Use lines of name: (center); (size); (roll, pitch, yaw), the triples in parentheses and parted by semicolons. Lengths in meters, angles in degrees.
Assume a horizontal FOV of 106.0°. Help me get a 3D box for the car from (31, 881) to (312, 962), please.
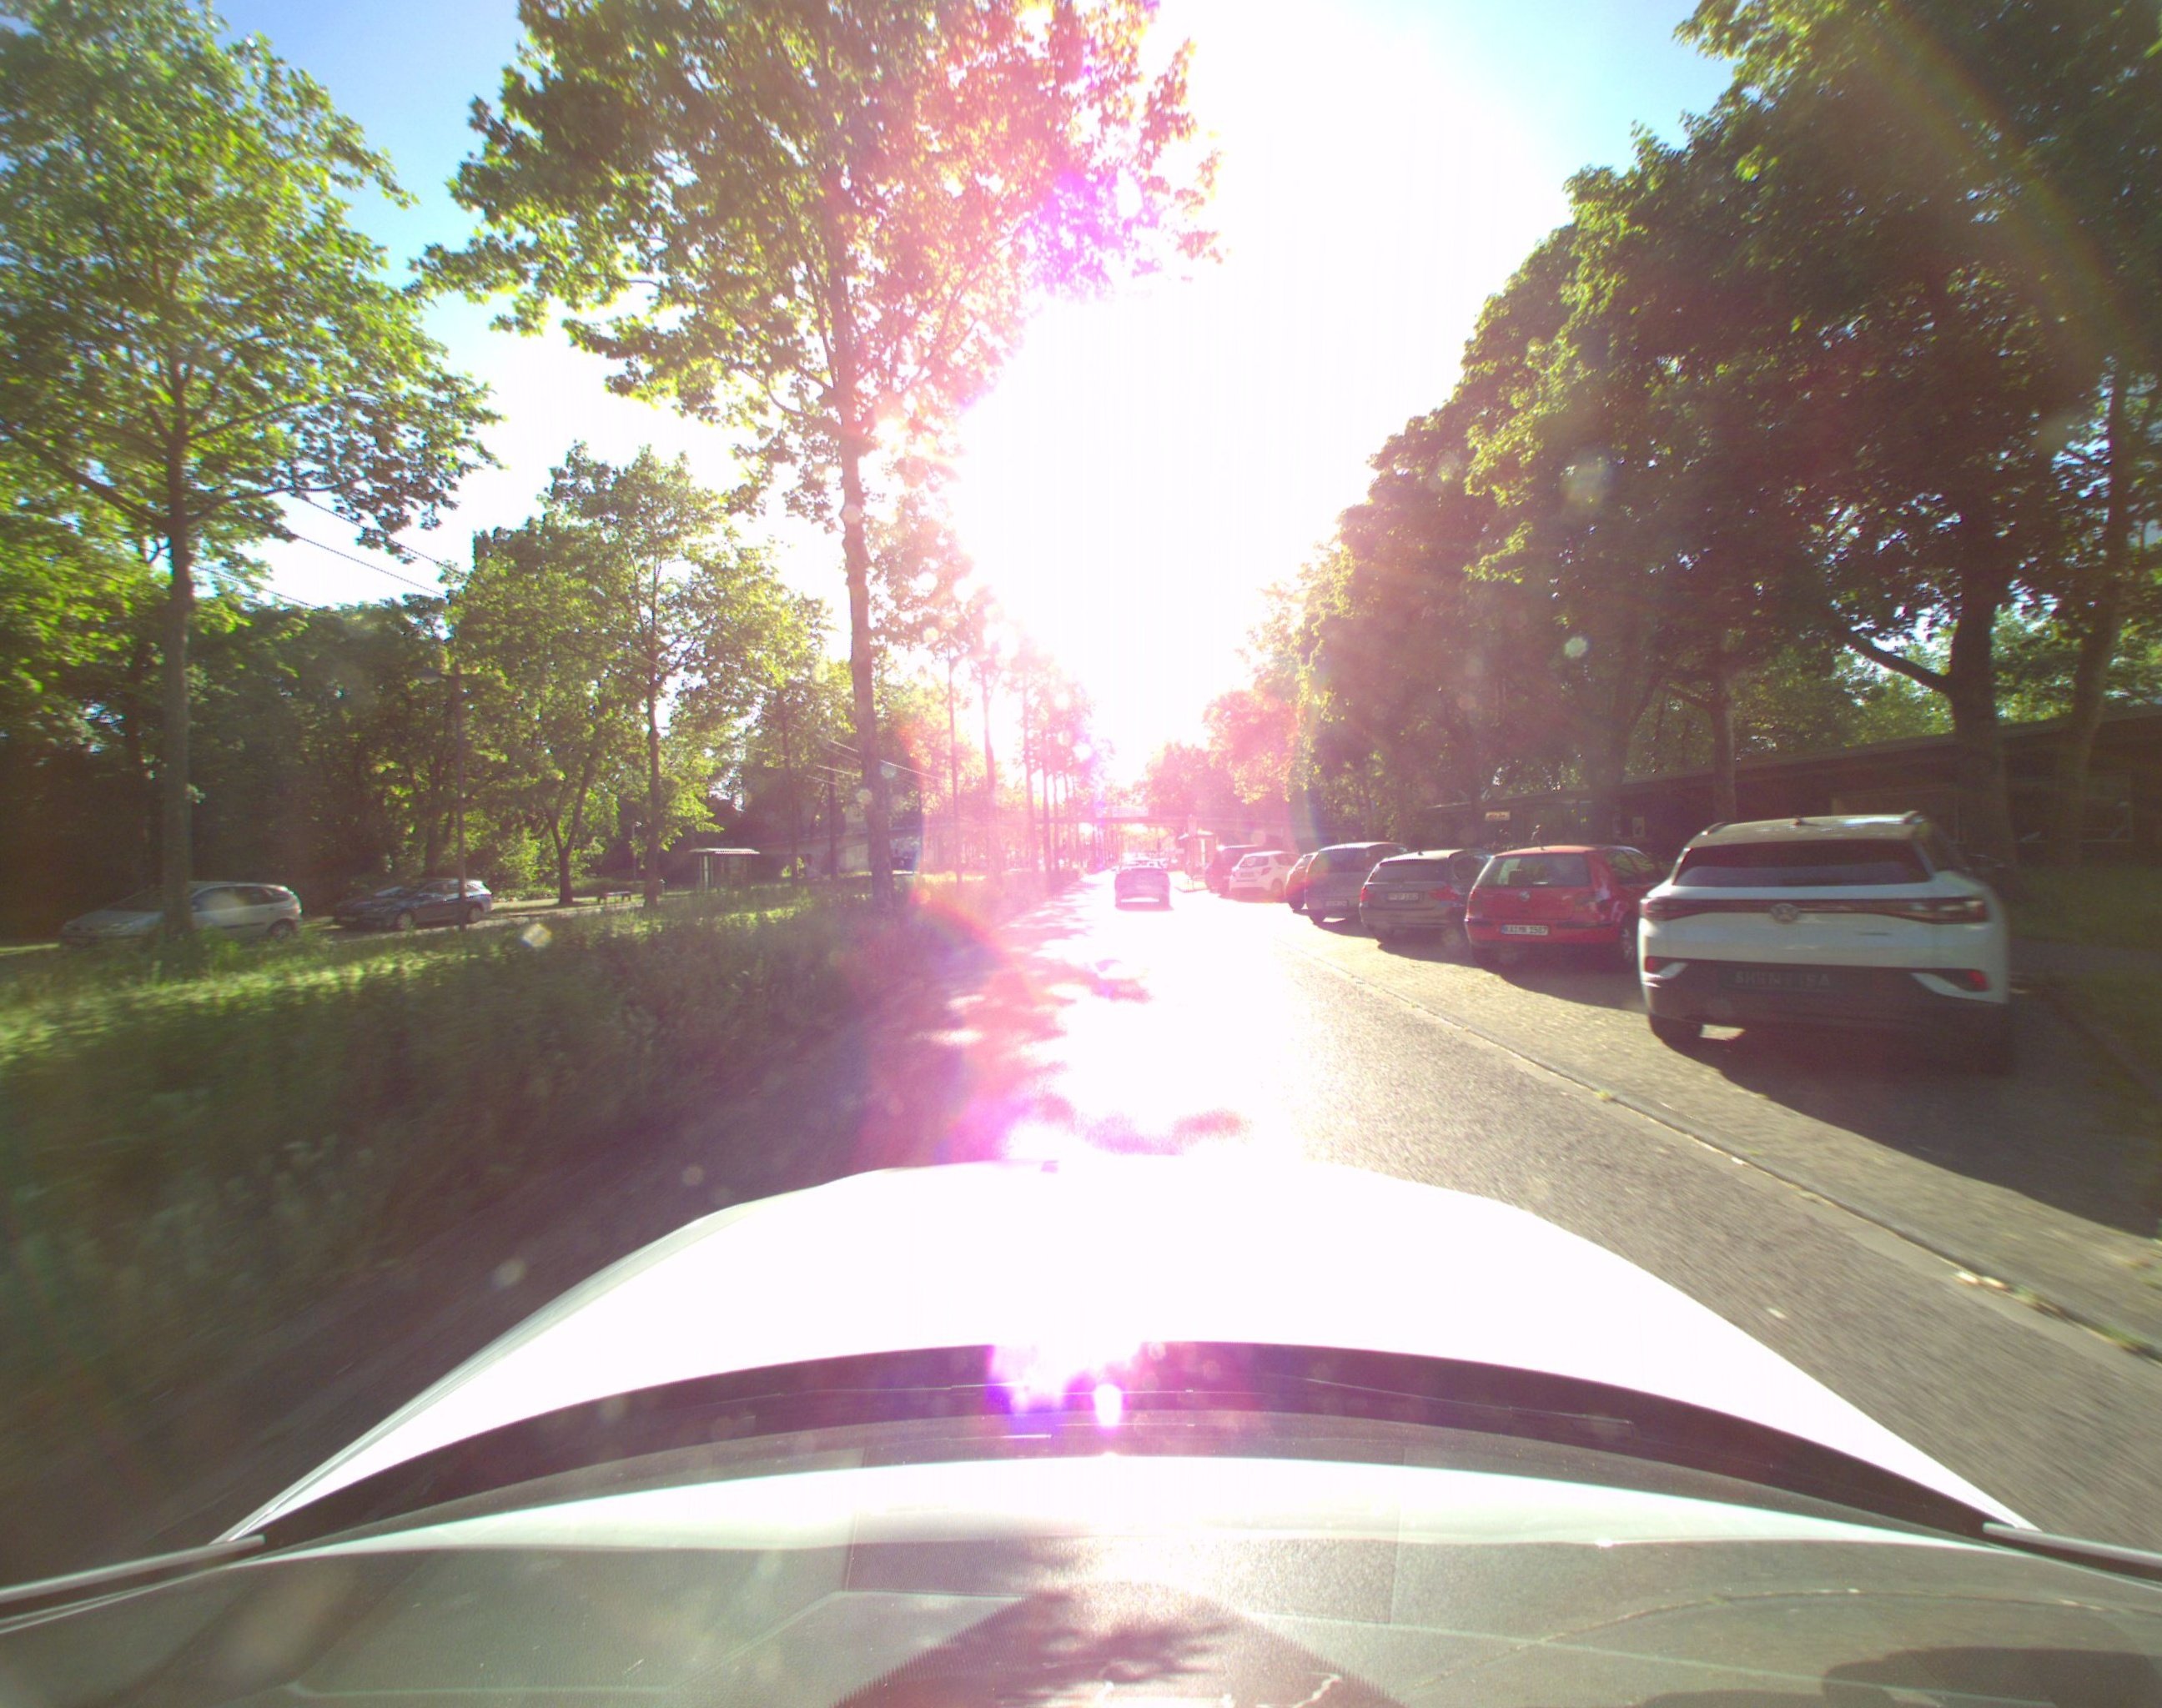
car: (-21.759, 1.530, 19.796); (1.985, 1.590, 4.171); (1, 0, 3)

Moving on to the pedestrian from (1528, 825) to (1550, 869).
pedestrian: (21.819, -0.333, 38.797); (0.741, 2.013, 0.827); (-2, 0, 38)

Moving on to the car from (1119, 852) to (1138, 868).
car: (5.099, 0.670, 88.257); (1.986, 1.651, 4.002); (-1, 0, 2)

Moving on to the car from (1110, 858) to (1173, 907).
car: (1.951, 0.894, 27.129); (1.914, 1.411, 4.003); (-1, 0, 2)

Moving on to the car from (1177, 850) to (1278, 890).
car: (6.442, 0.658, 35.455); (4.649, 1.614, 1.834); (-1, 0, -41)

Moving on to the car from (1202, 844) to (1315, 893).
car: (6.932, 0.519, 31.541); (4.649, 1.768, 1.834); (-1, 0, -41)

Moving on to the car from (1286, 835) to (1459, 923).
car: (6.590, 0.494, 18.106); (1.833, 1.680, 4.639); (-5, -2, 43)

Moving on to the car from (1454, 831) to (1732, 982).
car: (6.854, 0.523, 10.666); (4.649, 1.570, 1.834); (-1, 0, -41)

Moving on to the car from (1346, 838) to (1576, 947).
car: (6.648, 0.544, 13.992); (4.649, 1.521, 1.834); (-2, 0, -41)

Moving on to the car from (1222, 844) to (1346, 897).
car: (7.098, 0.530, 28.258); (4.649, 1.680, 1.834); (-1, 0, -41)

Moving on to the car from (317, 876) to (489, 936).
car: (-21.230, 1.559, 25.767); (1.779, 1.590, 4.171); (1, 0, 3)

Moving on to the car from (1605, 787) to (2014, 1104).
car: (6.043, 0.485, 6.548); (4.649, 1.680, 1.834); (-1, -1, -41)
